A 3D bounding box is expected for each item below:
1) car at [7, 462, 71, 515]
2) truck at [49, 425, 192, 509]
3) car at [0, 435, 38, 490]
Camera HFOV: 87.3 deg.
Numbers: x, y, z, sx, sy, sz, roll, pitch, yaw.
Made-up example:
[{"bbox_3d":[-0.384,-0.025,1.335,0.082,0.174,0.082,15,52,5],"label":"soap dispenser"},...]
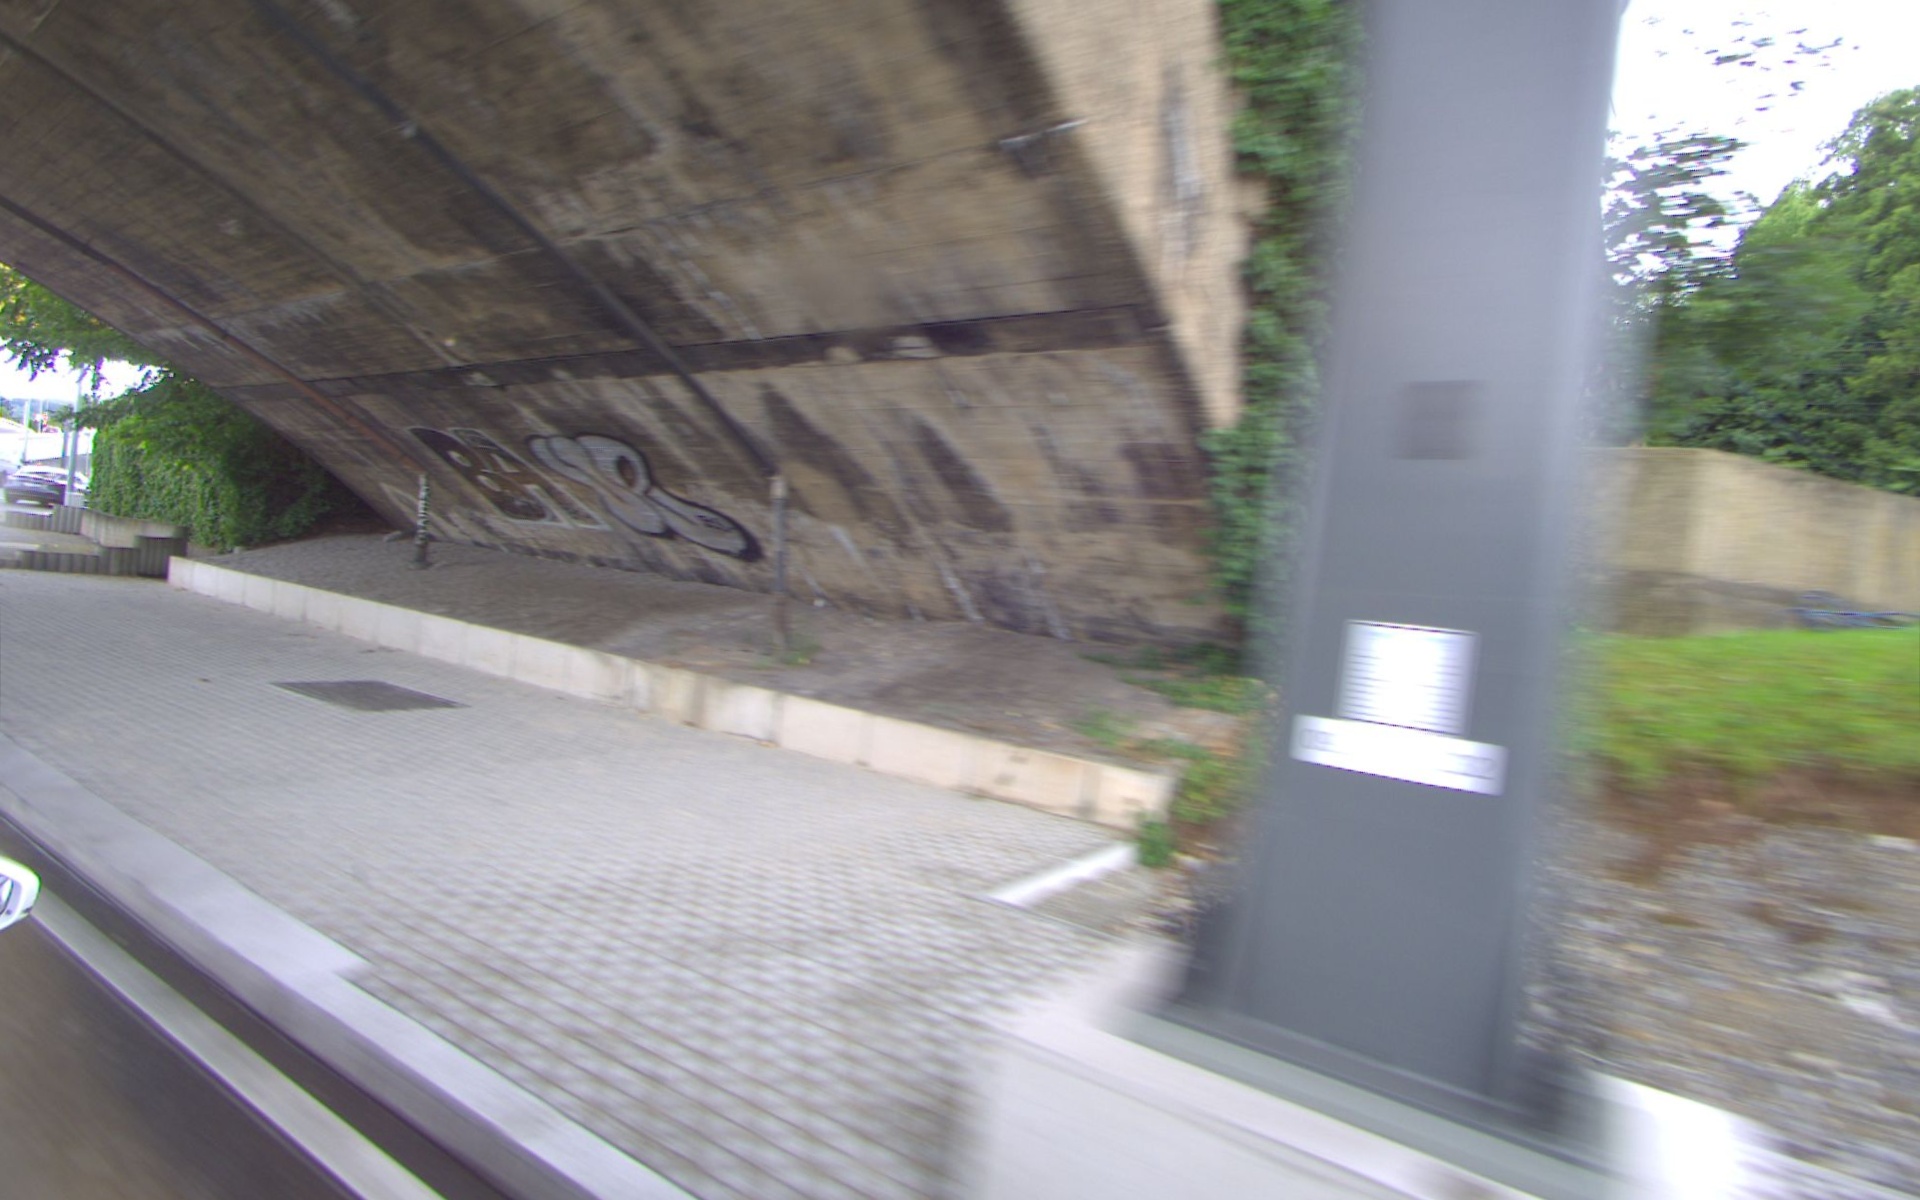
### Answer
[{"bbox_3d":[-34.121,-4.082,37.248,1.499,1.484,3.359,12,-6,-43],"label":"car"},{"bbox_3d":[-53.822,-8.292,65.181,3.291,3.855,16.471,8,0,-28],"label":"truck"},{"bbox_3d":[-49.352,-7.147,51.276,1.979,2.572,5.135,9,0,-28],"label":"car"}]
